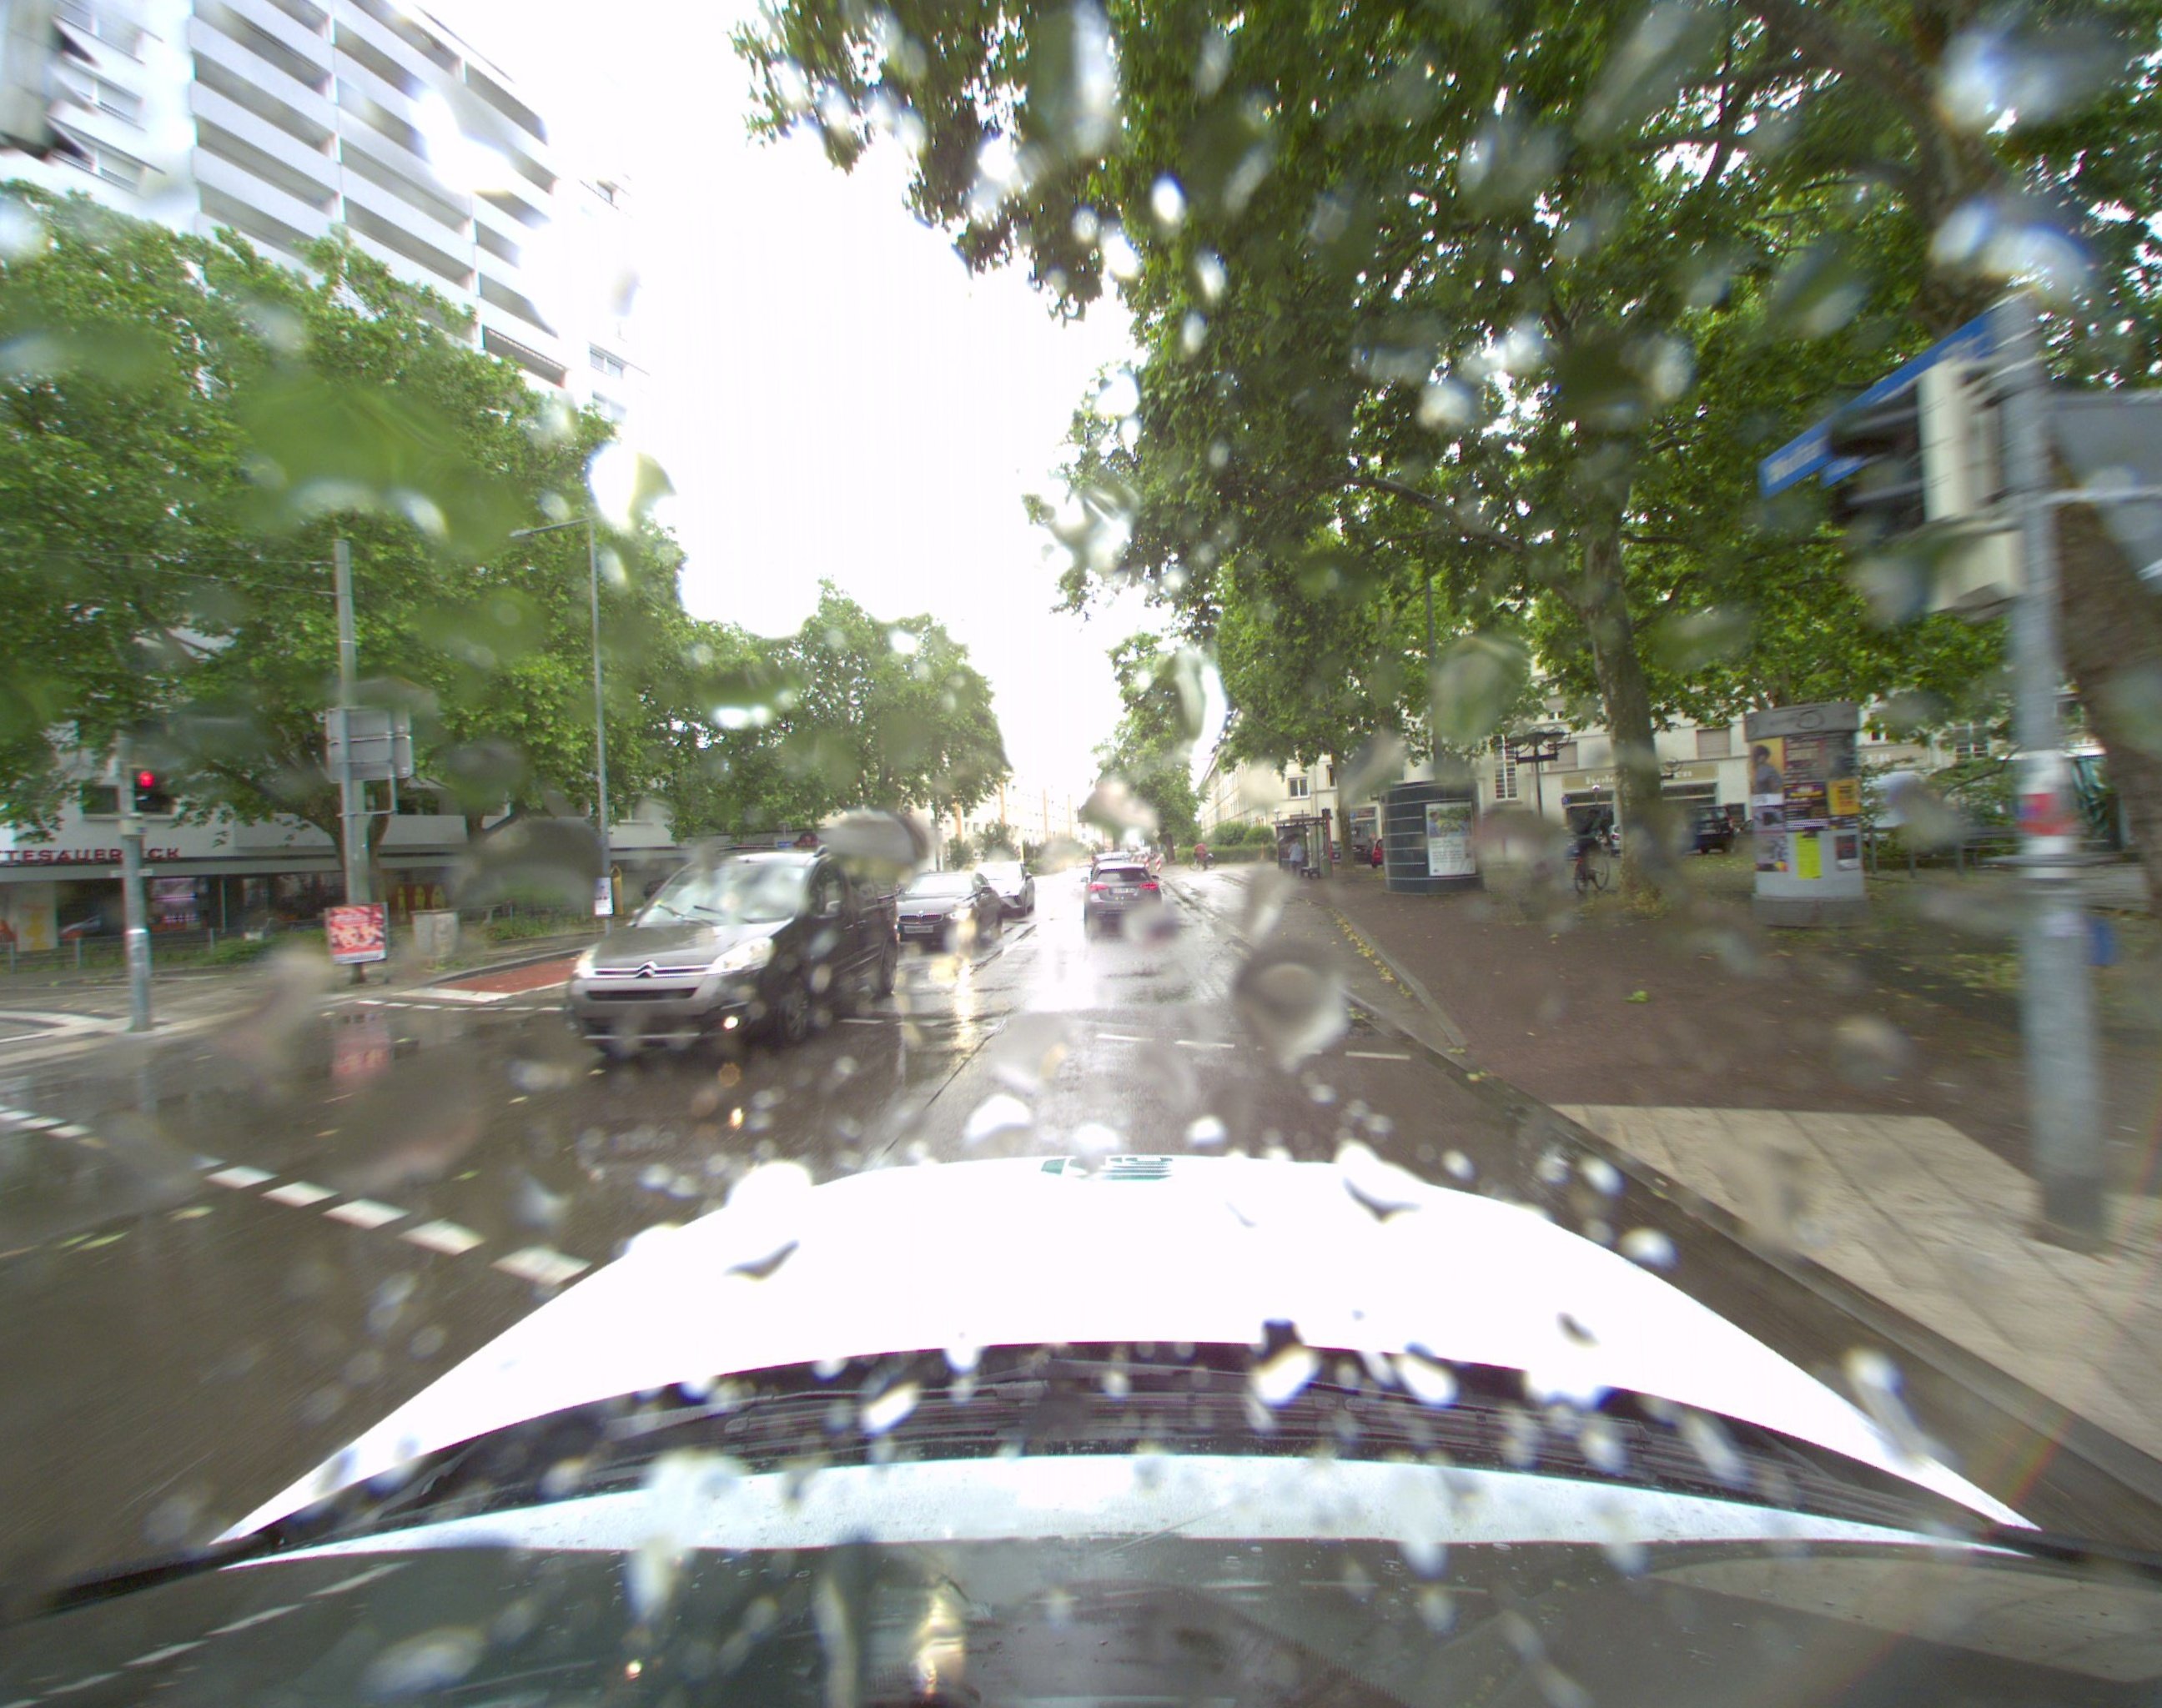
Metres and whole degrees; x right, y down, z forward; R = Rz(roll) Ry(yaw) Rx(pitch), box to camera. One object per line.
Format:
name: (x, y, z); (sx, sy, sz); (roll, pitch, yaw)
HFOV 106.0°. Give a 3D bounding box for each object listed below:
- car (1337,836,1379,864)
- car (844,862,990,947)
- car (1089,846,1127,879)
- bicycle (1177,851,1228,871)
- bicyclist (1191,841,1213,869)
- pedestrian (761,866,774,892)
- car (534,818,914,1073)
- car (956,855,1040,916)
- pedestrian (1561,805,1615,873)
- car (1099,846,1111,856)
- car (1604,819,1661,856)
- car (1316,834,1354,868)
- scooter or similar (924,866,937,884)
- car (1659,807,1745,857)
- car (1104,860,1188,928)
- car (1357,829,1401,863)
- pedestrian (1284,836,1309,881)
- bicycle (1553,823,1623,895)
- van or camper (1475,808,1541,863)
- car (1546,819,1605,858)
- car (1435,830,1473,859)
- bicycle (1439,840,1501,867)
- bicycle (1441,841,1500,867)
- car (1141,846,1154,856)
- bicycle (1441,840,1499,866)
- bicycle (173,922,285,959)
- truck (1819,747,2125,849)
car: (17.381, -0.292, 50.887); (1.975, 1.628, 4.657); (-1, 1, 25)
car: (-3.050, 0.880, 16.079); (1.735, 1.389, 4.365); (-2, -1, 3)
car: (1.303, 0.373, 38.460); (1.601, 1.372, 4.002); (-4, 0, 2)
bicycle: (8.211, 0.451, 54.932); (3.213, 1.112, 1.048); (-4, -1, -17)
bicyclist: (8.154, 0.076, 54.872); (0.940, 1.868, 1.136); (-3, -1, -16)
pedestrian: (-20.172, 1.622, 52.429); (0.570, 1.629, 0.638); (-3, 0, -12)
car: (-3.170, 0.702, 8.313); (1.799, 1.861, 4.112); (-3, 0, 3)
car: (-2.320, 0.834, 23.783); (1.838, 1.510, 4.056); (-3, 0, 1)
pedestrian: (11.145, -0.331, 17.880); (0.737, 1.398, 1.053); (-4, 0, 43)
car: (4.575, -0.544, 157.321); (1.880, 1.836, 4.007); (-4, 0, 6)
car: (24.438, -0.669, 36.213); (1.663, 1.432, 3.758); (-4, -2, 28)
car: (12.783, -0.110, 40.975); (1.675, 1.551, 3.538); (-4, -2, 18)
scooter or similar: (-11.124, 1.519, 60.228); (0.435, 1.266, 1.379); (-4, 0, 9)
car: (26.563, -0.877, 34.988); (2.134, 1.838, 4.024); (-4, -2, 27)
car: (1.498, 0.887, 19.538); (1.784, 1.372, 3.509); (-2, 0, 2)
car: (14.709, -0.360, 40.323); (1.514, 1.457, 3.401); (-3, -2, 13)
pedestrian: (8.330, 0.169, 31.497); (0.713, 1.669, 0.665); (-3, 0, 3)
bicycle: (11.113, 0.071, 17.801); (0.742, 1.377, 2.724); (-4, 0, 42)
van or camper: (19.942, -0.847, 37.882); (2.373, 2.231, 5.464); (-4, 0, 30)
car: (22.162, -0.690, 36.645); (1.664, 1.575, 3.756); (-3, -1, 23)
car: (22.459, -0.589, 49.014); (1.975, 1.628, 4.657); (-1, 1, 25)
bicycle: (16.237, -0.003, 34.028); (2.260, 0.983, 0.549); (-4, 0, 25)
bicycle: (16.536, -0.016, 34.612); (2.231, 0.968, 0.538); (-4, 0, 25)
car: (12.241, -0.552, 149.402); (2.036, 1.836, 4.800); (-4, 0, 6)
bicycle: (16.816, -0.044, 35.234); (2.226, 0.968, 0.588); (-4, 0, 25)
bicycle: (-26.250, 2.649, 25.152); (2.329, 0.869, 0.631); (-2, 0, -41)
truck: (28.858, -1.716, 26.771); (6.322, 2.699, 2.281); (-4, -1, 23)
